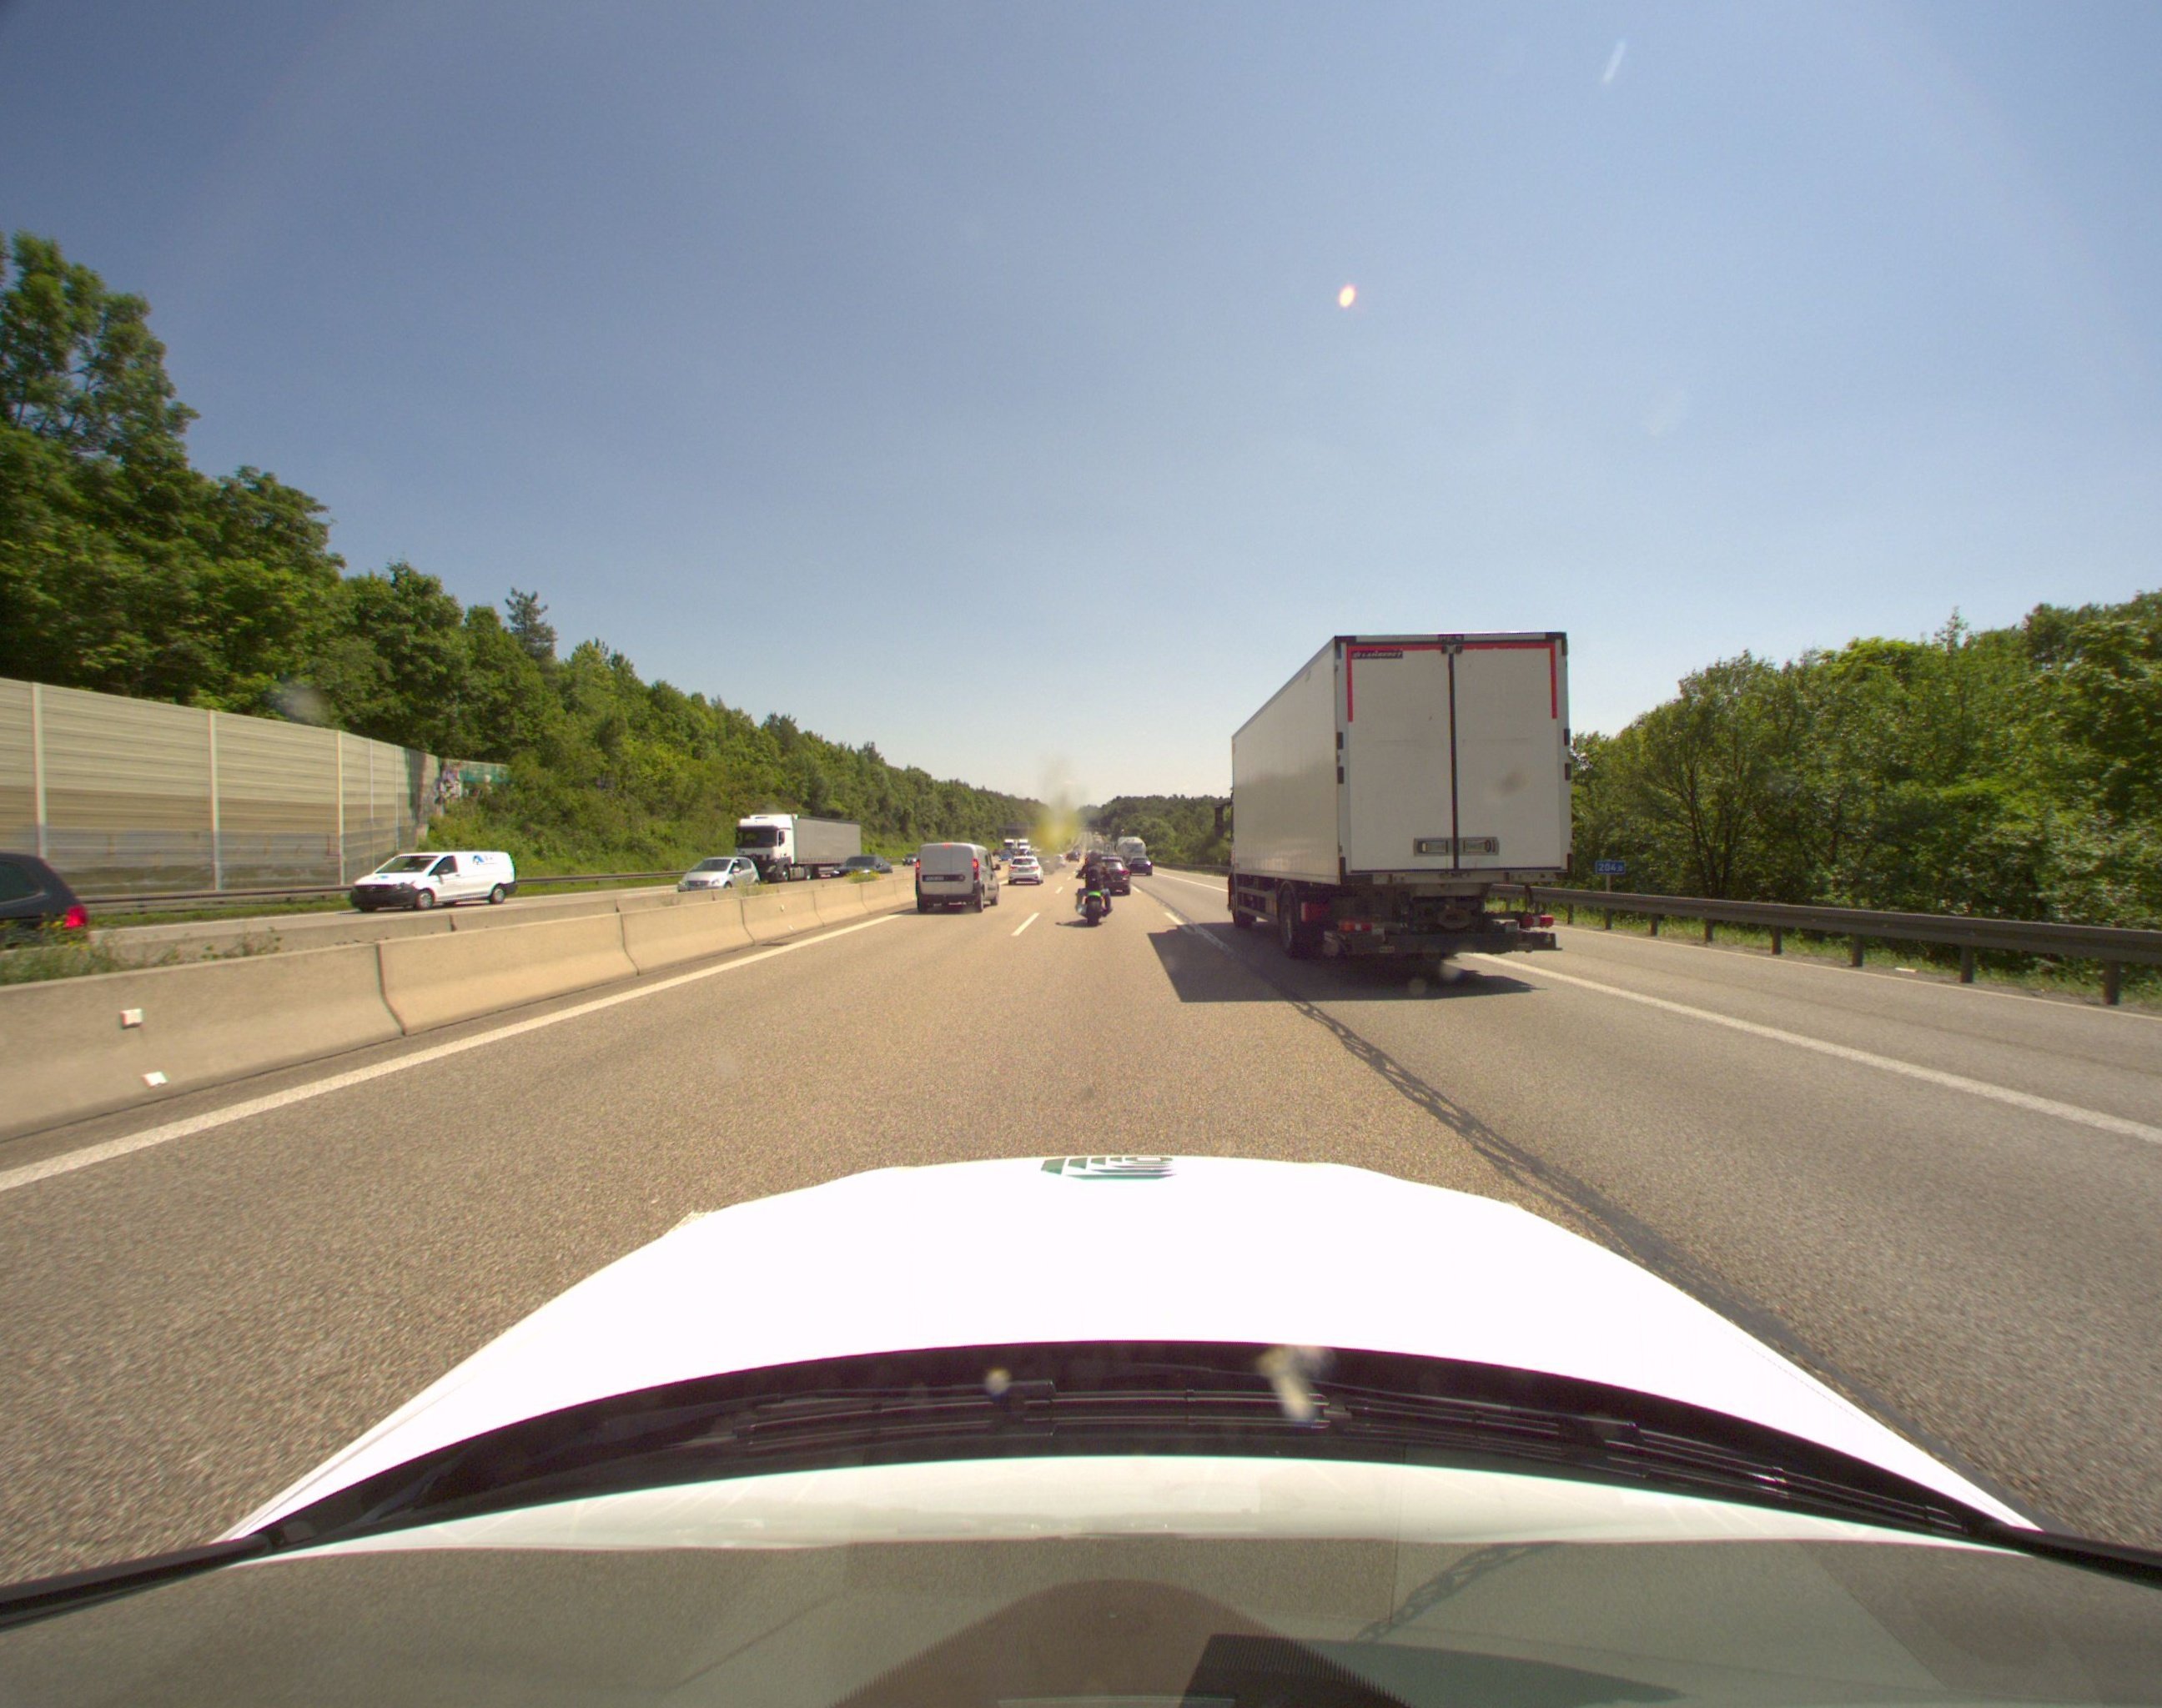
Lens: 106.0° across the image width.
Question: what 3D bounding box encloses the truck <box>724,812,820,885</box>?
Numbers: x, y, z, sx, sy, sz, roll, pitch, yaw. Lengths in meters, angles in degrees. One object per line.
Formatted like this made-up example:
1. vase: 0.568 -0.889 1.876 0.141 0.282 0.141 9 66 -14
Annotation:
1. truck: -17.761 -0.265 47.407 2.804 3.908 7.313 -1 -1 0

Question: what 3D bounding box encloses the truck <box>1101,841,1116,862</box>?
1. truck: 6.200 -0.499 185.043 3.023 4.542 9.983 2 0 1

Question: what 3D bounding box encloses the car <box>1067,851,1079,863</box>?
1. car: -1.272 0.508 138.416 1.873 1.859 4.001 2 0 1

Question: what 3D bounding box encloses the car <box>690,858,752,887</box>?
1. car: -21.408 1.066 48.562 1.803 1.641 4.100 0 0 1

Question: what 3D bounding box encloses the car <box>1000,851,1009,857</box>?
1. car: -20.065 0.033 213.749 1.756 1.370 4.501 0 0 1

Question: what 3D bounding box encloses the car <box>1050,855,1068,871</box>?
1. car: -2.259 0.907 84.077 1.694 1.478 4.000 1 0 1

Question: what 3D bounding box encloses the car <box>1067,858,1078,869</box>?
1. car: -1.647 1.812 154.117 1.986 2.014 4.001 -1 -1 1

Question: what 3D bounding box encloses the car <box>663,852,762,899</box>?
1. car: -13.917 0.795 31.039 1.821 1.669 4.106 -1 -1 2

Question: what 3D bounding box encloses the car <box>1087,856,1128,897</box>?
1. car: 1.091 0.839 32.478 1.526 1.510 4.003 -1 0 3

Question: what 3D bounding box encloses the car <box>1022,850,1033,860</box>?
1. car: -10.125 0.171 153.676 1.886 1.948 3.998 -1 -1 -1

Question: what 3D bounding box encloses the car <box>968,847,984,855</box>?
1. car: -16.246 -0.455 125.780 1.795 1.347 4.724 0 0 1

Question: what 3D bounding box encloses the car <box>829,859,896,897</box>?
1. car: -10.183 1.086 38.249 1.803 1.641 4.604 0 0 1

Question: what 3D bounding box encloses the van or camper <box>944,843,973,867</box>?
1. van or camper: -14.376 0.160 95.970 2.262 2.735 6.805 -1 -1 0

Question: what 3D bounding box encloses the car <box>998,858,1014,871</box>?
1. car: -9.738 1.337 105.617 1.705 1.538 4.128 0 0 0

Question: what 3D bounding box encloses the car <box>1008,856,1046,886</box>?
1. car: -2.852 0.874 43.508 1.694 1.478 4.000 1 0 1

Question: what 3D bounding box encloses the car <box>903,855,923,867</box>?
1. car: -20.897 0.829 101.400 1.572 1.462 4.389 0 0 1

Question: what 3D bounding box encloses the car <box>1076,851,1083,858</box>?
1. car: -0.352 0.183 221.944 1.923 2.014 4.001 -1 -1 1

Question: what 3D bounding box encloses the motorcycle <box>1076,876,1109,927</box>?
1. motorcycle: 0.280 1.030 18.253 0.689 1.015 2.122 0 0 2

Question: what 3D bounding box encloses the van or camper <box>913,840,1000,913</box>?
1. van or camper: -3.466 0.625 23.397 1.789 1.892 4.160 -1 -1 1

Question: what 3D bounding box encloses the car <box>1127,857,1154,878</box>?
1. car: 4.598 1.027 63.278 1.822 1.470 4.000 2 0 1

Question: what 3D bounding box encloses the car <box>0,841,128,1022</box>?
1. car: -11.055 0.737 6.351 1.677 1.698 4.660 -1 0 2

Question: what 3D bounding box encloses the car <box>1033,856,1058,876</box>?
1. car: -2.748 0.946 64.315 1.694 1.478 4.000 1 0 1

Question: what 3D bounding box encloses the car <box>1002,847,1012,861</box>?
1. car: -20.676 0.064 227.064 2.441 3.874 4.565 0 0 0

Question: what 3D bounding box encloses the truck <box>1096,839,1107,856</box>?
1. truck: 6.266 -1.910 254.867 3.023 5.139 9.983 2 0 1

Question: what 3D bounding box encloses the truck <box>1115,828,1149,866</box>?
1. truck: 5.167 -0.598 83.430 2.978 3.671 9.287 -1 -1 1

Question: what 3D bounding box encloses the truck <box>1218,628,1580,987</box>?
1. truck: 4.294 -0.491 13.809 2.677 3.876 9.787 -1 0 3

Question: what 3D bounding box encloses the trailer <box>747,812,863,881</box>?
1. trailer: -17.662 -0.344 53.503 2.803 3.908 13.825 -1 -1 0

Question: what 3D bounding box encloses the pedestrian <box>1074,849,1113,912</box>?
1. pedestrian: 0.291 0.577 18.149 0.846 1.362 0.962 -1 0 1

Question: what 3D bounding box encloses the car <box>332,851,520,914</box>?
1. car: -21.504 0.879 27.118 1.915 1.867 5.303 -1 -1 0

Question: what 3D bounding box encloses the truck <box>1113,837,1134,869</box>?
1. truck: 4.836 -0.103 92.588 1.988 3.522 4.747 -1 -1 -2

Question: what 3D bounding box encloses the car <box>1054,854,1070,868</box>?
1. car: -2.210 0.802 94.983 1.694 1.478 4.000 1 0 1

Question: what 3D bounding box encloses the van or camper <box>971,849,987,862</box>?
1. van or camper: -16.377 0.246 131.253 2.069 1.977 3.705 0 0 1

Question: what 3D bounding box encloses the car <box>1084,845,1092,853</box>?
1. car: 2.108 -1.615 256.842 2.496 2.587 5.016 1 0 0

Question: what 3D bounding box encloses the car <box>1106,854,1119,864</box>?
1. car: 4.908 0.740 126.743 1.781 1.555 3.803 1 0 0
